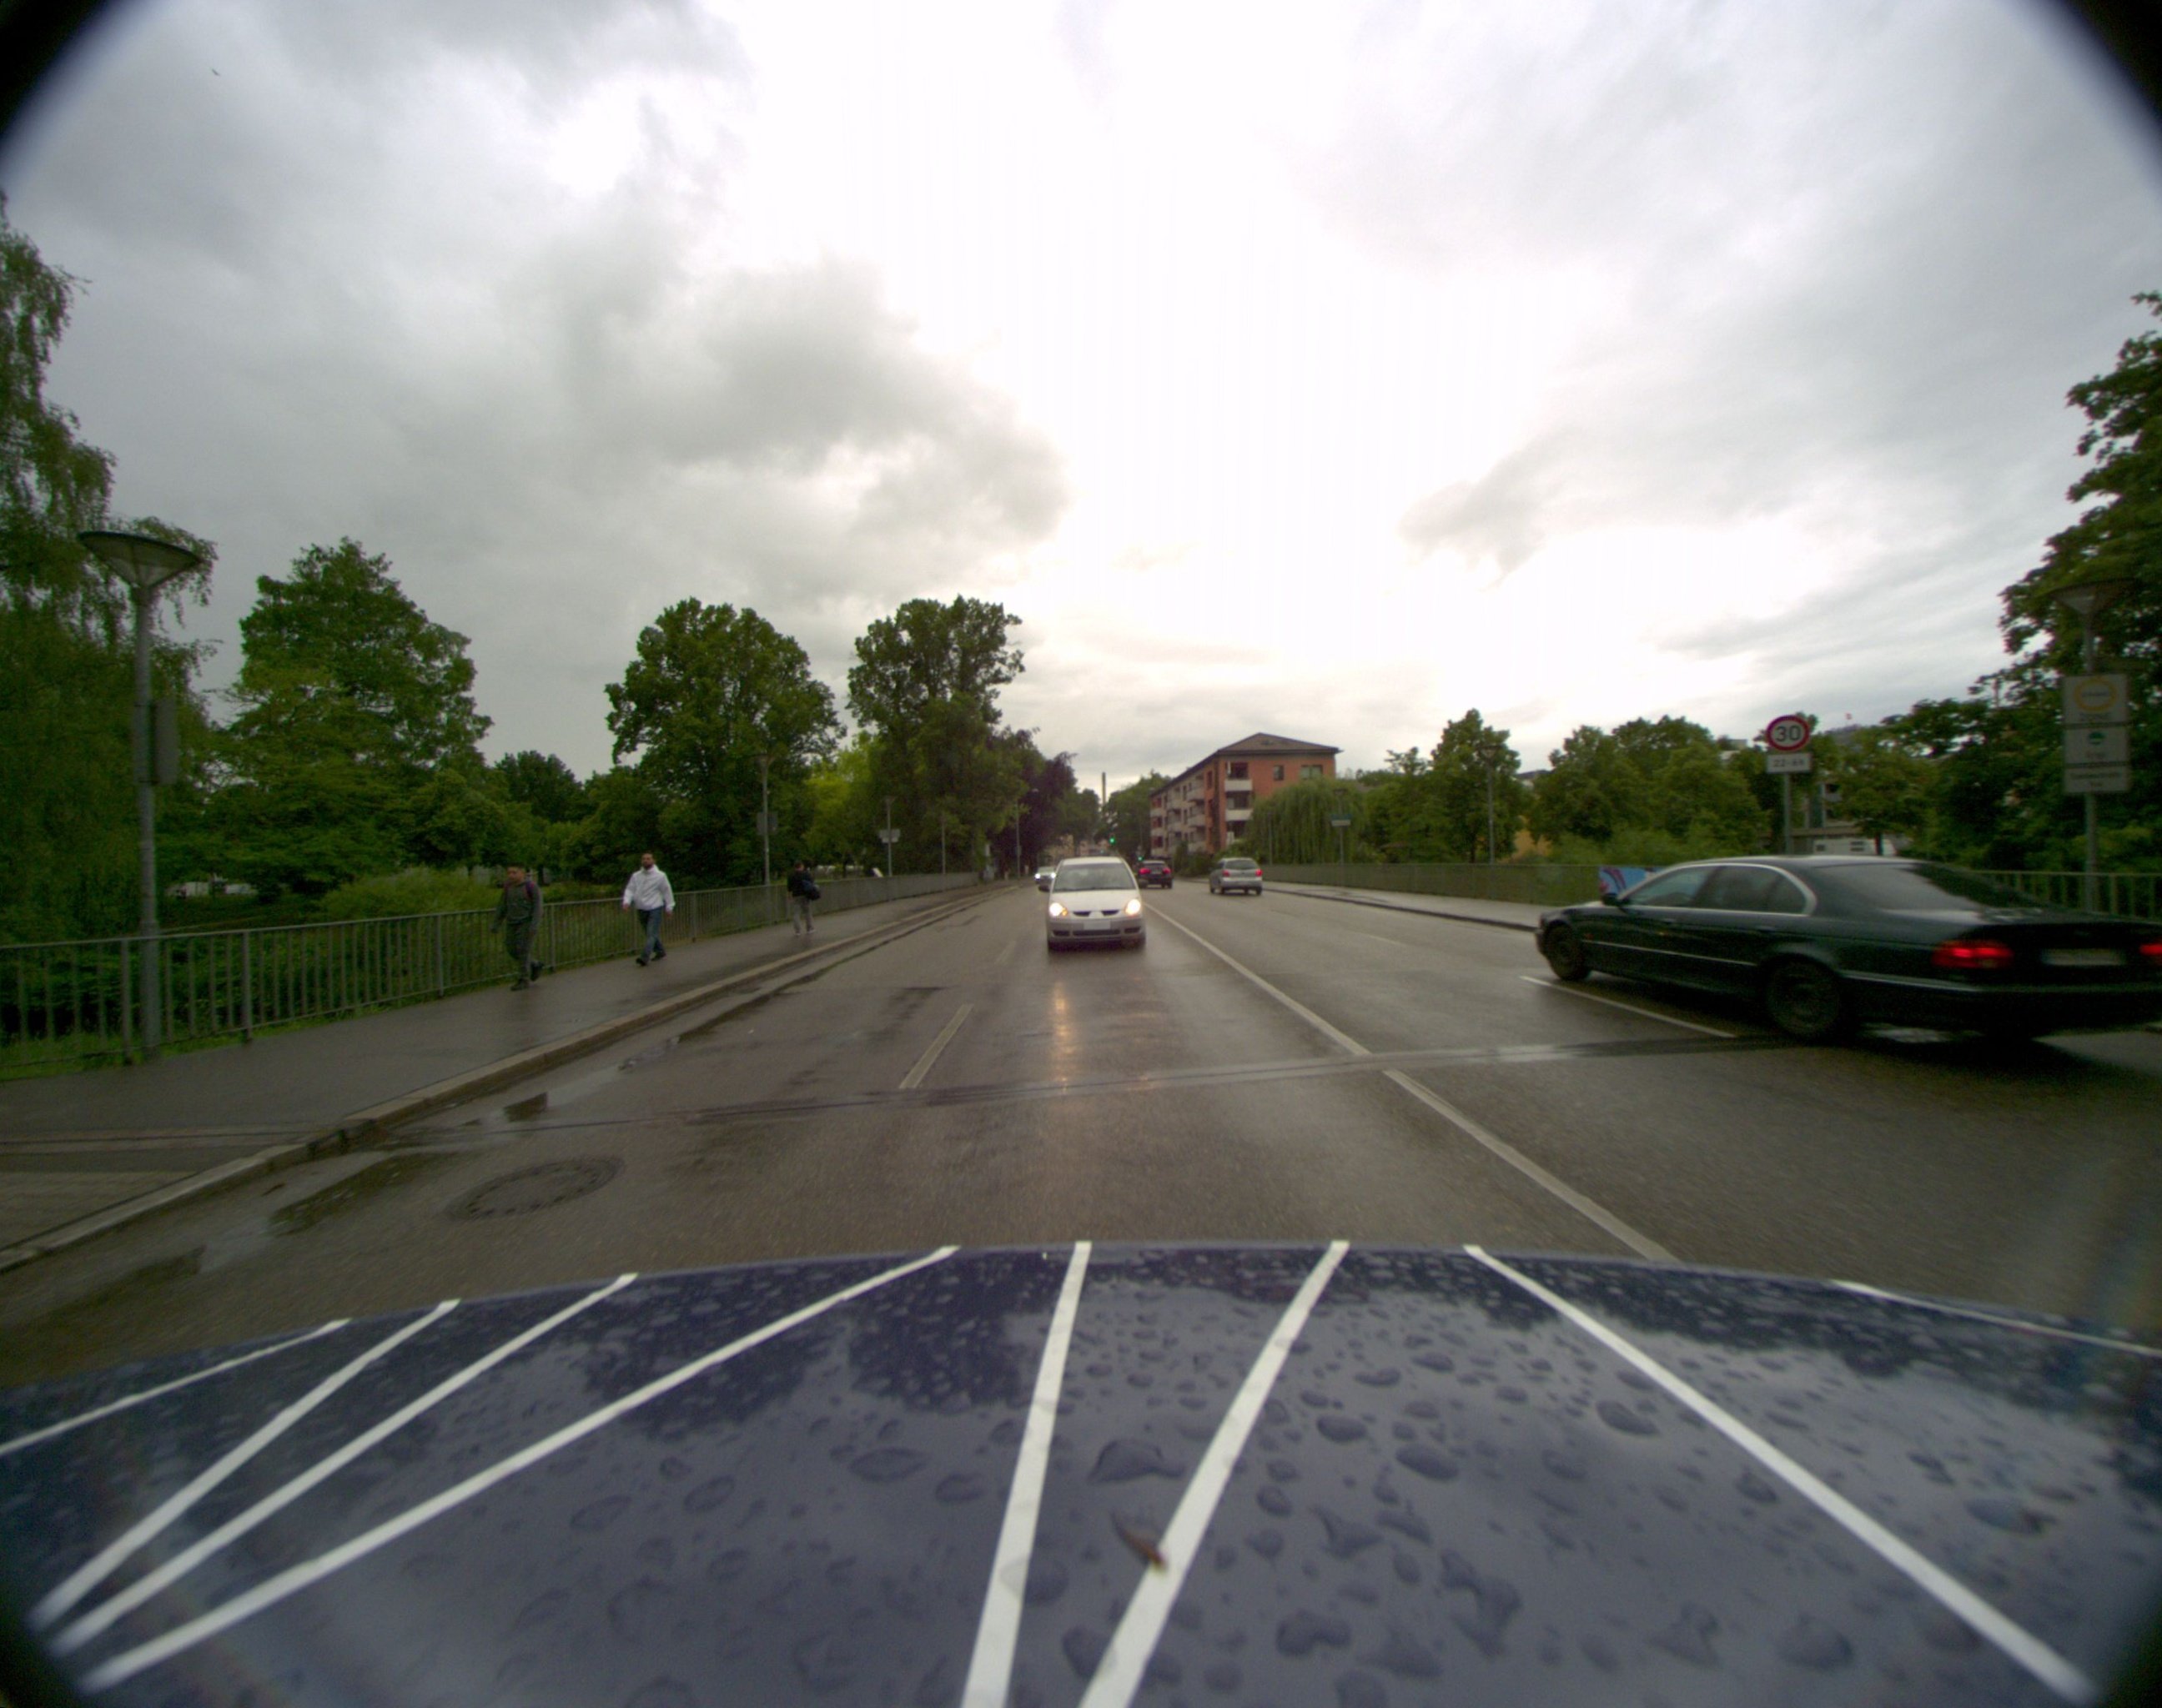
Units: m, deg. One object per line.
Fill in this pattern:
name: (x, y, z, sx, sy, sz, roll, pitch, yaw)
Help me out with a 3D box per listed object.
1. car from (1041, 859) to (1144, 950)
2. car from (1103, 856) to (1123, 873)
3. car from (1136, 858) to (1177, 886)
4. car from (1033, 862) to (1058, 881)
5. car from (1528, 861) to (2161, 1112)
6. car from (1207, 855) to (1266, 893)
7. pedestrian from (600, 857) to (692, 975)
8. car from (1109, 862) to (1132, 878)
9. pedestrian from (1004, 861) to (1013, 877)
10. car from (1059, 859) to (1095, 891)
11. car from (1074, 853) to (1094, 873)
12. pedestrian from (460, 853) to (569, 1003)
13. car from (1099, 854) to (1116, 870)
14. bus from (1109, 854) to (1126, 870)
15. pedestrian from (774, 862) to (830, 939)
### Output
car: (0.185, 0.893, 15.448, 1.718, 1.508, 4.807, -2, -1, -1)
car: (3.299, 1.073, 78.415, 1.893, 1.724, 4.371, 0, -1, 0)
car: (3.950, 0.909, 40.279, 1.714, 1.408, 4.094, 0, 0, 0)
car: (-3.075, 1.540, 66.813, 1.906, 1.537, 4.000, -1, 0, 1)
car: (6.316, 0.833, 6.908, 1.733, 1.451, 4.426, -1, 0, -3)
car: (6.255, 0.763, 30.908, 1.630, 1.411, 3.686, -1, 0, 1)
pedestrian: (-6.748, 0.930, 11.836, 0.781, 1.742, 1.060, -1, 0, -1)
car: (3.512, 1.421, 67.835, 1.786, 1.394, 4.219, 0, -1, 0)
pedestrian: (-7.254, 1.498, 76.021, 0.850, 1.666, 1.167, 1, 0, -1)
car: (-0.222, 1.040, 39.346, 1.718, 1.508, 4.088, -2, -1, -1)
car: (0.366, 0.969, 82.474, 2.037, 2.119, 4.000, -1, 0, 1)
pedestrian: (-7.103, 0.899, 9.565, 0.763, 1.798, 0.781, -1, 0, 0)
car: (3.917, 1.245, 114.471, 2.295, 2.294, 6.510, 0, -1, -1)
bus: (6.835, 1.524, 143.815, 2.700, 2.922, 12.084, 0, 0, 0)
pedestrian: (-5.981, 0.976, 16.328, 0.865, 1.609, 0.839, 0, 0, 0)
